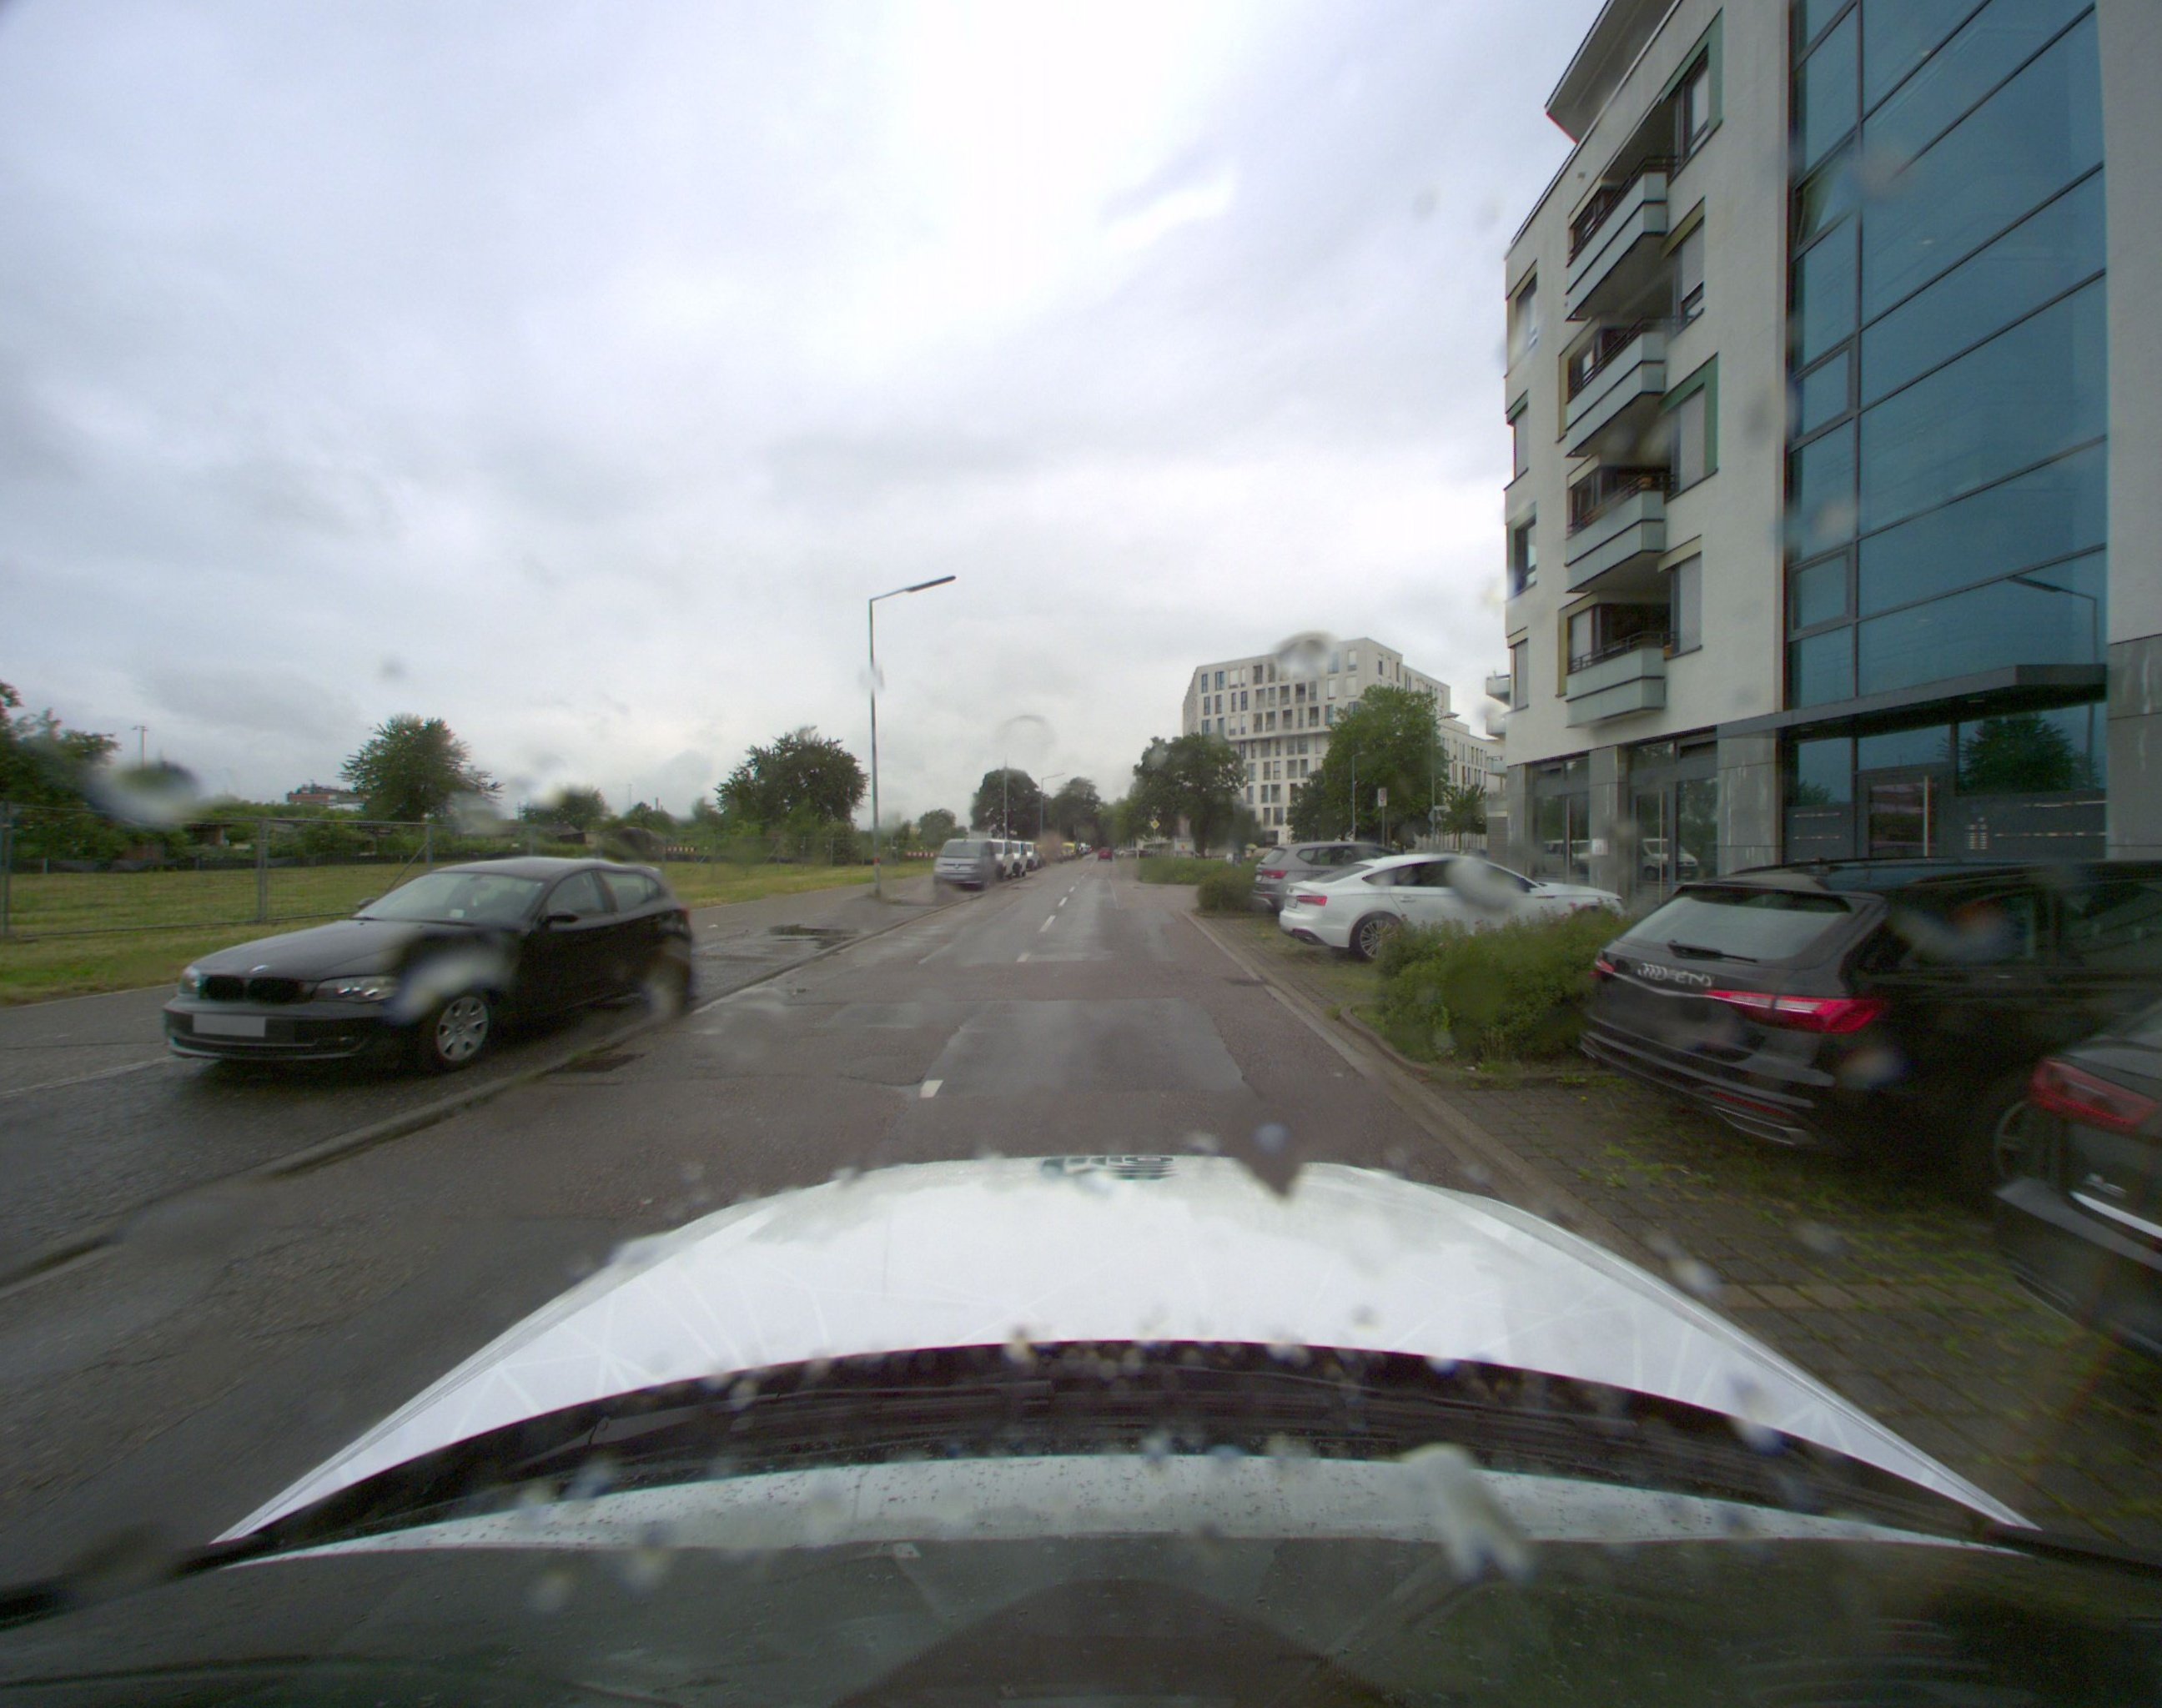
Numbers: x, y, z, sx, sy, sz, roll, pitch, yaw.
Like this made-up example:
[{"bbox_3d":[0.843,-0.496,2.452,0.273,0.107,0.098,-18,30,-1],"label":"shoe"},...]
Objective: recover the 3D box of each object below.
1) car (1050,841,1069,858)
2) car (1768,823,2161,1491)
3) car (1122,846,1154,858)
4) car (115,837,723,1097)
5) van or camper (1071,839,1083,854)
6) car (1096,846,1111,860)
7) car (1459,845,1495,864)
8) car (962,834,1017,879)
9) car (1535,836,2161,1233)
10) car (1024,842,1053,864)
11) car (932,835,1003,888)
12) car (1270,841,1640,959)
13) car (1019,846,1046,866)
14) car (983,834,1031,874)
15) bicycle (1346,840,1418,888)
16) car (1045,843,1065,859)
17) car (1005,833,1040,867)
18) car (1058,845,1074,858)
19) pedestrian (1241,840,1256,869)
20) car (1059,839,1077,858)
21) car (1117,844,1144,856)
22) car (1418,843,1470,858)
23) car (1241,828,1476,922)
[{"bbox_3d":[-2.545,-0.537,97.939,2.010,1.956,6.067,2,0,1],"label":"car"},{"bbox_3d":[4.433,0.632,1.812,4.045,1.496,2.059,-1,0,2],"label":"car"},{"bbox_3d":[8.152,-0.283,117.083,4.471,1.481,1.692,-2,0,1],"label":"car"},{"bbox_3d":[-5.102,0.692,7.221,1.840,1.561,4.154,2,1,2],"label":"car"},{"bbox_3d":[-0.744,-1.414,161.631,2.088,2.715,7.573,3,0,0],"label":"van or camper"},{"bbox_3d":[2.866,-0.160,103.404,1.750,1.706,4.000,1,0,0],"label":"car"},{"bbox_3d":[32.506,0.010,66.789,1.712,1.548,4.147,0,1,40],"label":"car"},{"bbox_3d":[-4.332,0.093,39.542,1.887,2.013,5.261,0,1,2],"label":"car"},{"bbox_3d":[4.805,0.683,4.125,3.974,1.479,1.879,-1,0,0],"label":"car"},{"bbox_3d":[-3.499,-0.110,68.280,1.932,1.767,4.335,0,0,3],"label":"car"},{"bbox_3d":[-4.379,0.241,32.264,1.948,1.901,4.997,1,0,2],"label":"car"},{"bbox_3d":[5.111,0.597,11.605,4.393,1.405,1.911,-2,0,1],"label":"car"},{"bbox_3d":[-3.740,0.150,63.369,1.677,1.502,4.893,0,0,1],"label":"car"},{"bbox_3d":[-4.060,-0.012,45.422,1.952,2.058,5.277,1,1,2],"label":"car"},{"bbox_3d":[9.860,0.325,26.683,2.168,1.522,0.634,-1,0,22],"label":"bicycle"},{"bbox_3d":[-2.697,-0.346,85.143,1.797,1.561,4.035,3,1,2],"label":"car"},{"bbox_3d":[-4.044,-0.311,57.093,1.935,2.236,5.559,0,1,1],"label":"car"},{"bbox_3d":[-2.028,-0.297,110.235,1.987,1.594,5.017,3,0,0],"label":"car"},{"bbox_3d":[11.884,0.024,57.672,0.962,2.013,0.623,0,0,1],"label":"pedestrian"},{"bbox_3d":[-1.912,-0.765,121.895,2.182,2.694,6.086,3,0,3],"label":"car"},{"bbox_3d":[8.513,-0.666,140.094,4.527,1.685,1.885,-5,0,-2],"label":"car"},{"bbox_3d":[38.958,-0.392,87.556,4.776,1.507,1.635,3,2,42],"label":"car"},{"bbox_3d":[5.481,0.393,16.498,4.076,1.623,1.966,-2,0,0],"label":"car"}]
